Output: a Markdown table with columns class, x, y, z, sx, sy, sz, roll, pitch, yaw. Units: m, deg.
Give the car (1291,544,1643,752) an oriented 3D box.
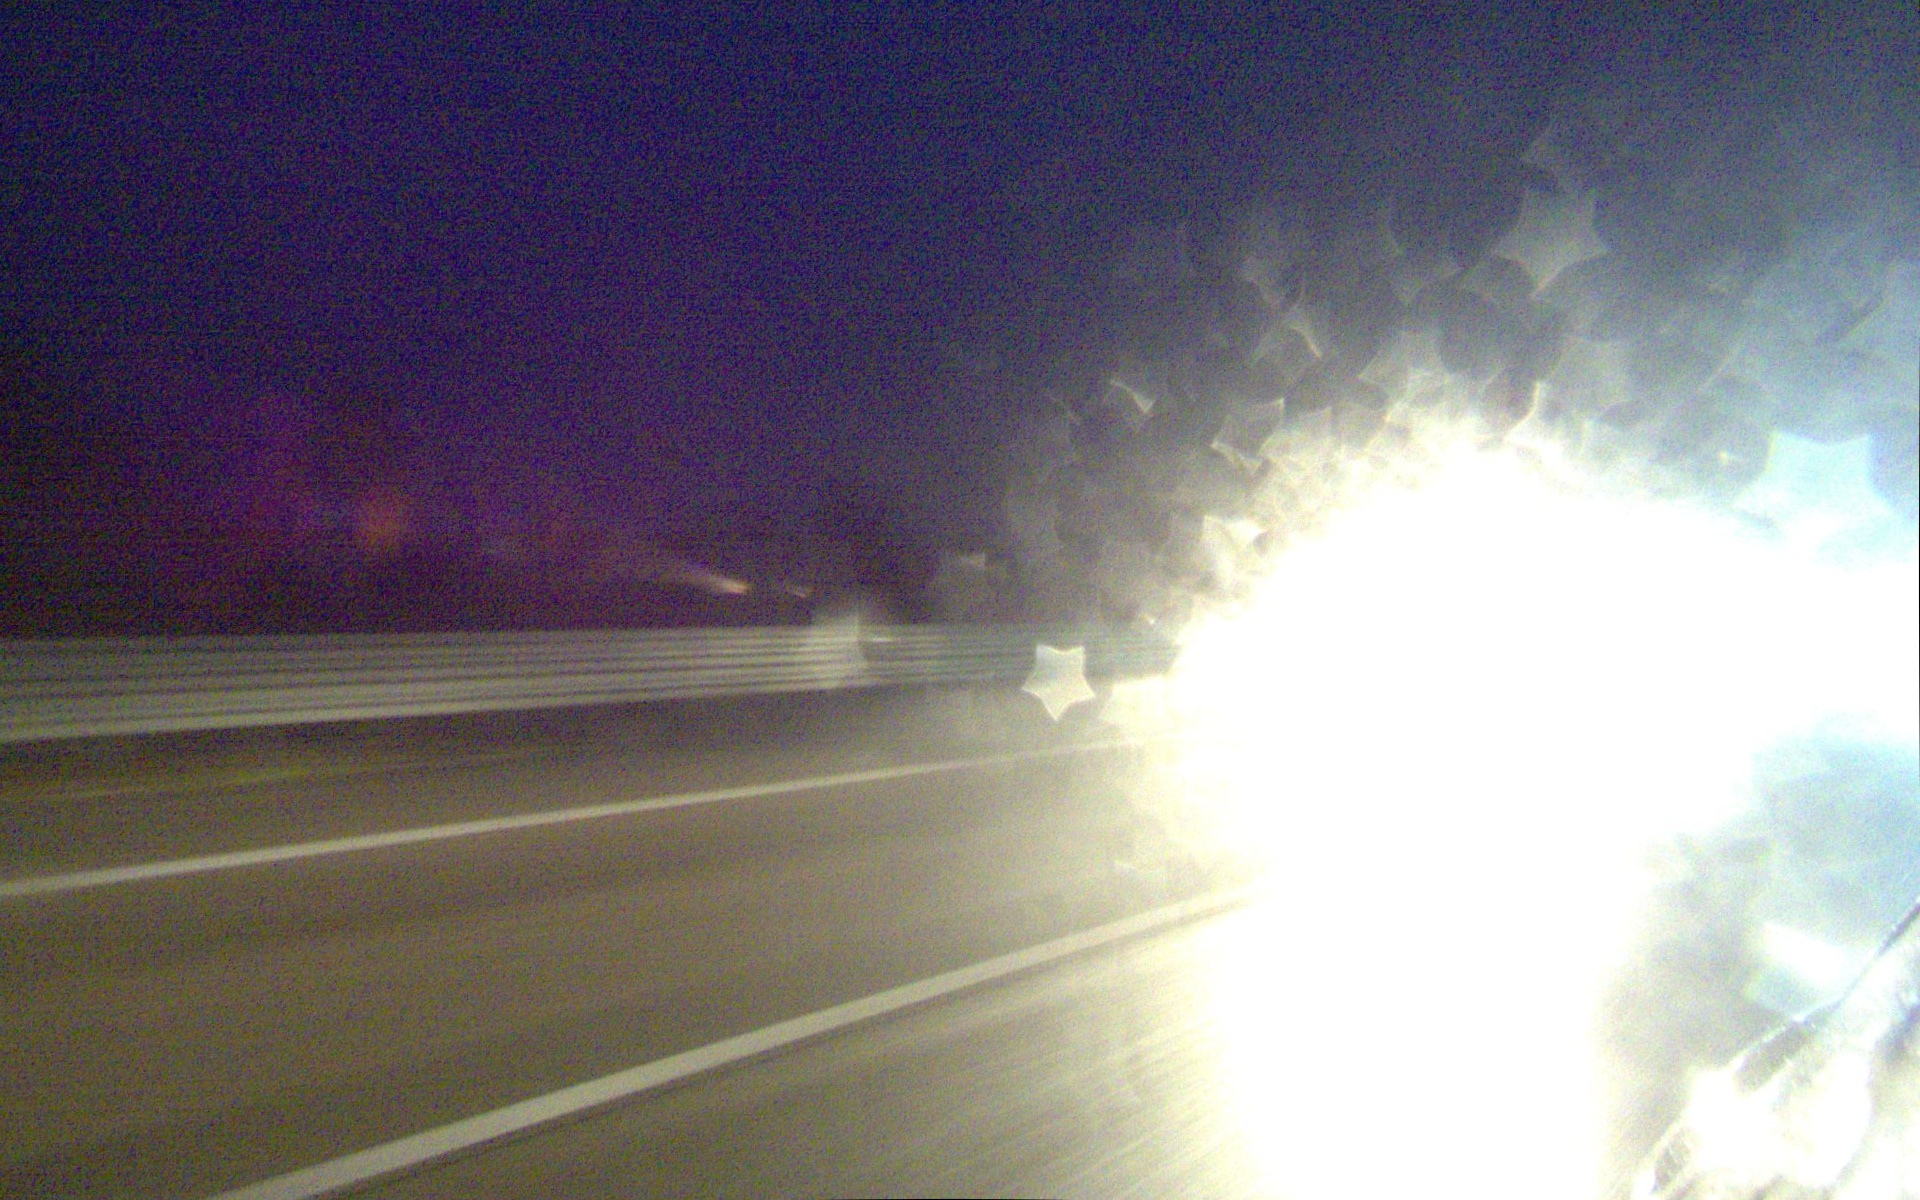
| class | x | y | z | sx | sy | sz | roll | pitch | yaw |
| --- | --- | --- | --- | --- | --- | --- | --- | --- | --- |
| car | 5.800 | 0.445 | 11.311 | 4.614 | 1.870 | 1.831 | 0 | -1 | -40 |
